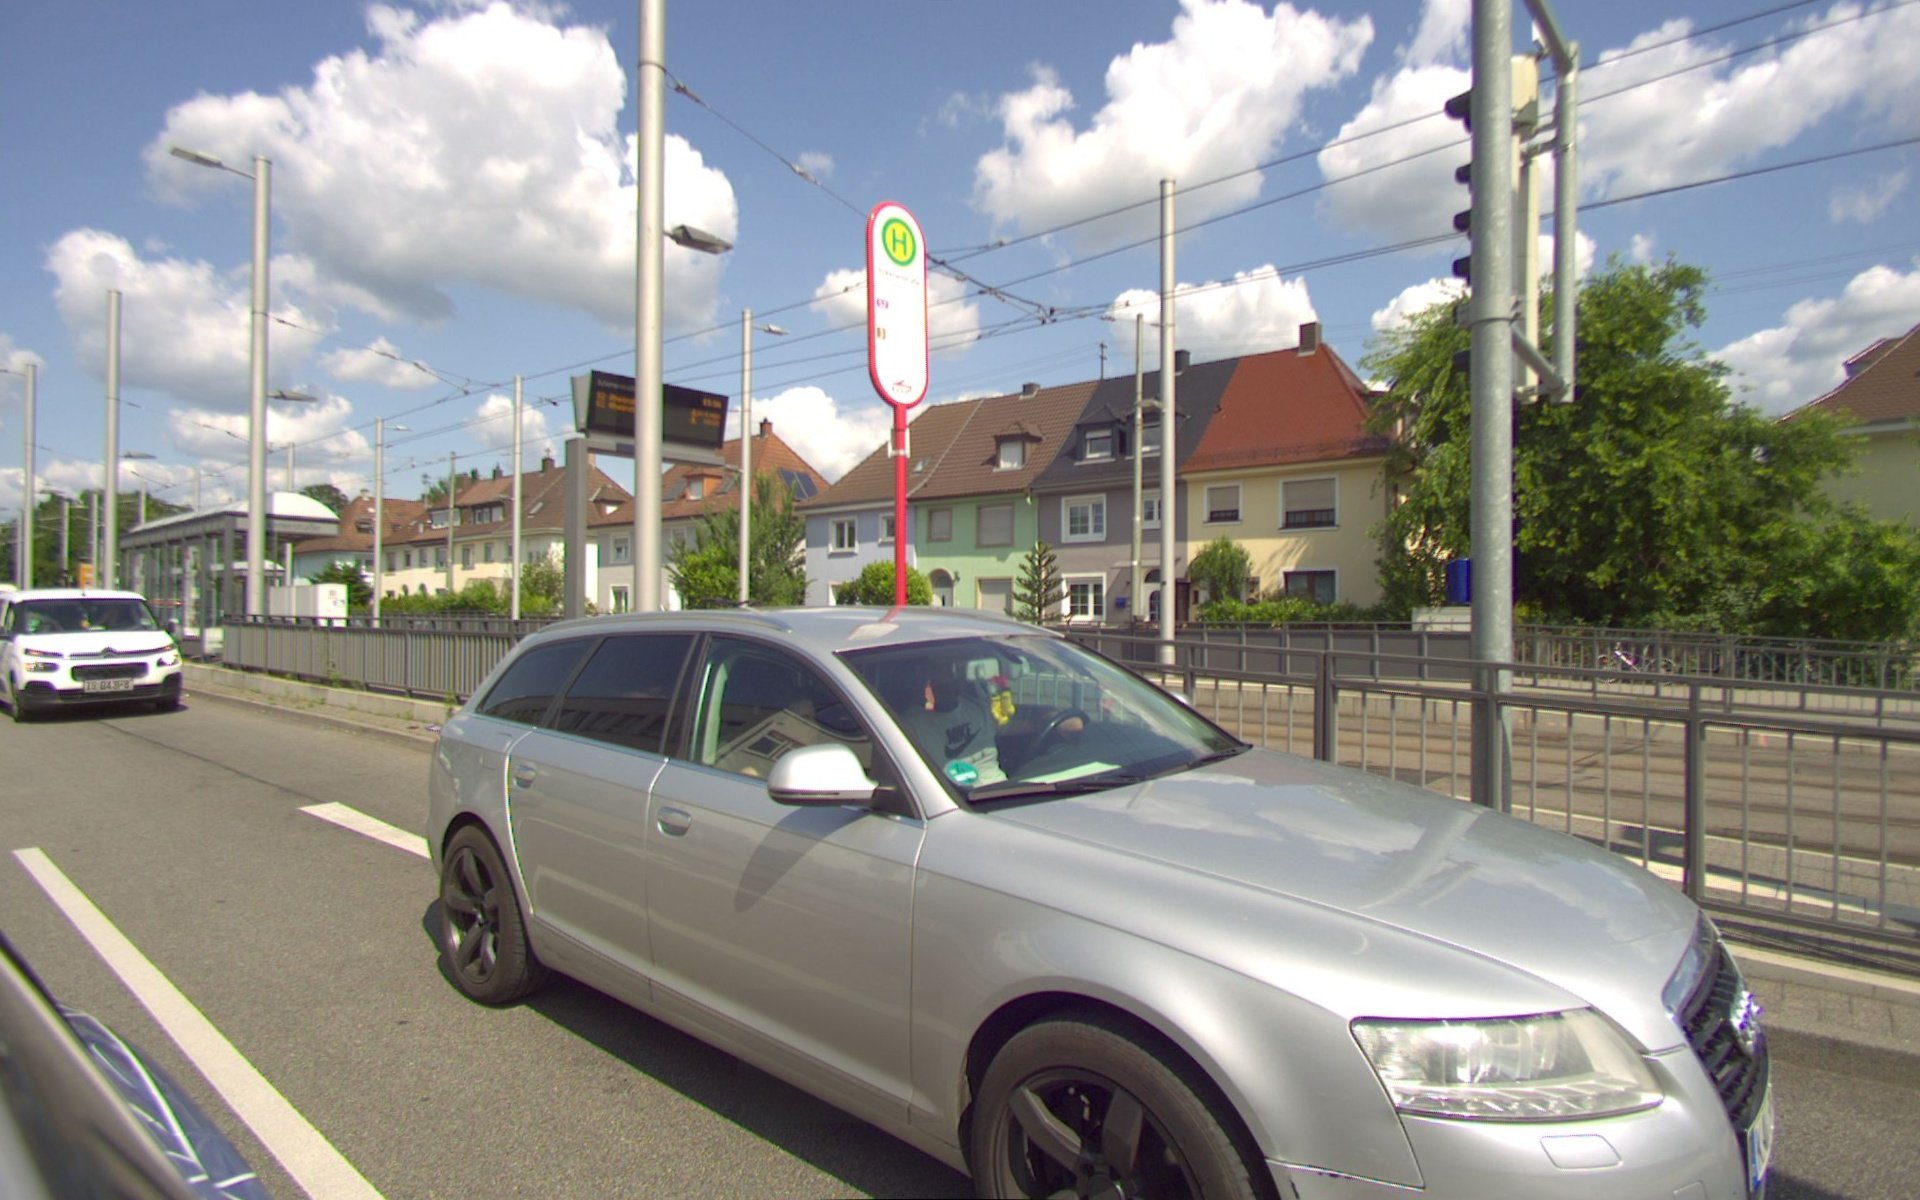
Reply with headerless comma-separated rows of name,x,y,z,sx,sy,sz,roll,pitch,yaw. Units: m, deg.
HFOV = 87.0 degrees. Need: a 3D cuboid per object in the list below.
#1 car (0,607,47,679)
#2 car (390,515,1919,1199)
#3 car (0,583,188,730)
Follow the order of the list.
car,-21.744,0.937,22.431,3.388,1.515,1.660,-1,0,38
car,-0.058,0.684,3.358,4.720,1.483,1.775,-2,0,42
car,-12.881,0.686,14.654,4.325,1.829,1.777,0,1,40
